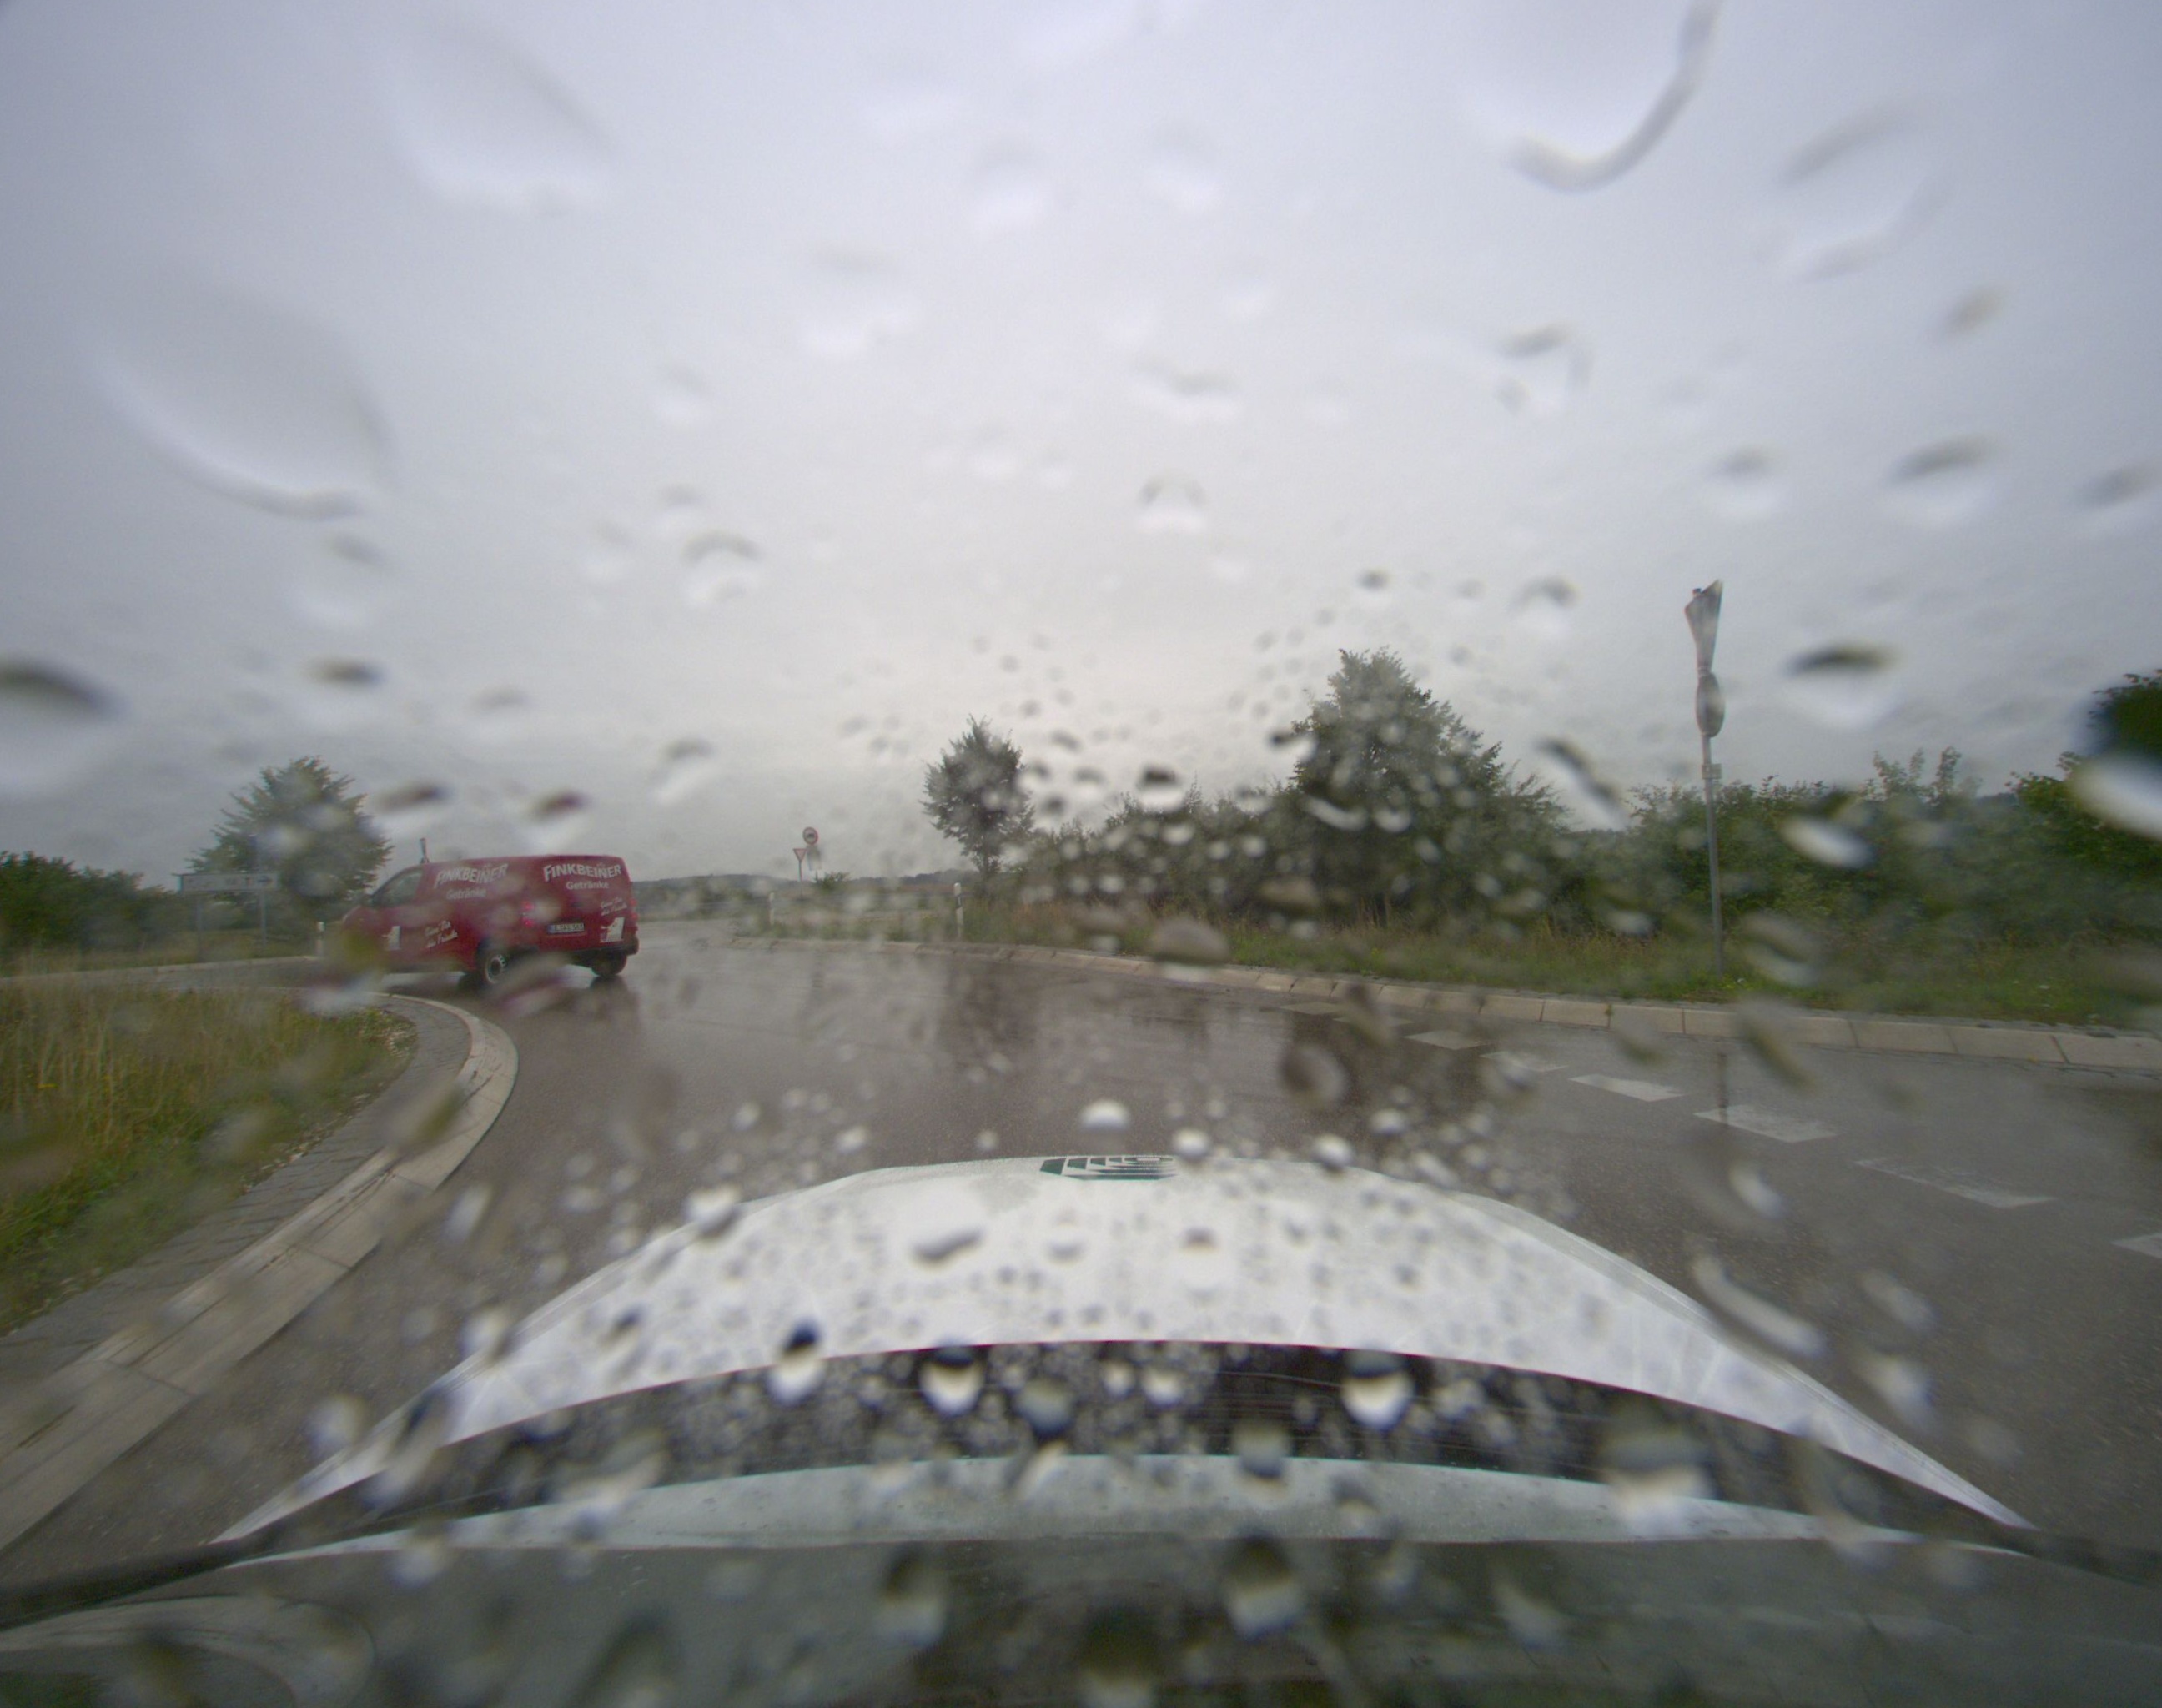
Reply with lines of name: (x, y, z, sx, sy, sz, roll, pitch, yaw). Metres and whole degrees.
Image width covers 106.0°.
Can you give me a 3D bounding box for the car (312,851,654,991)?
car: (-9.427, 0.985, 12.835, 4.919, 1.870, 2.011, -2, 0, 22)
